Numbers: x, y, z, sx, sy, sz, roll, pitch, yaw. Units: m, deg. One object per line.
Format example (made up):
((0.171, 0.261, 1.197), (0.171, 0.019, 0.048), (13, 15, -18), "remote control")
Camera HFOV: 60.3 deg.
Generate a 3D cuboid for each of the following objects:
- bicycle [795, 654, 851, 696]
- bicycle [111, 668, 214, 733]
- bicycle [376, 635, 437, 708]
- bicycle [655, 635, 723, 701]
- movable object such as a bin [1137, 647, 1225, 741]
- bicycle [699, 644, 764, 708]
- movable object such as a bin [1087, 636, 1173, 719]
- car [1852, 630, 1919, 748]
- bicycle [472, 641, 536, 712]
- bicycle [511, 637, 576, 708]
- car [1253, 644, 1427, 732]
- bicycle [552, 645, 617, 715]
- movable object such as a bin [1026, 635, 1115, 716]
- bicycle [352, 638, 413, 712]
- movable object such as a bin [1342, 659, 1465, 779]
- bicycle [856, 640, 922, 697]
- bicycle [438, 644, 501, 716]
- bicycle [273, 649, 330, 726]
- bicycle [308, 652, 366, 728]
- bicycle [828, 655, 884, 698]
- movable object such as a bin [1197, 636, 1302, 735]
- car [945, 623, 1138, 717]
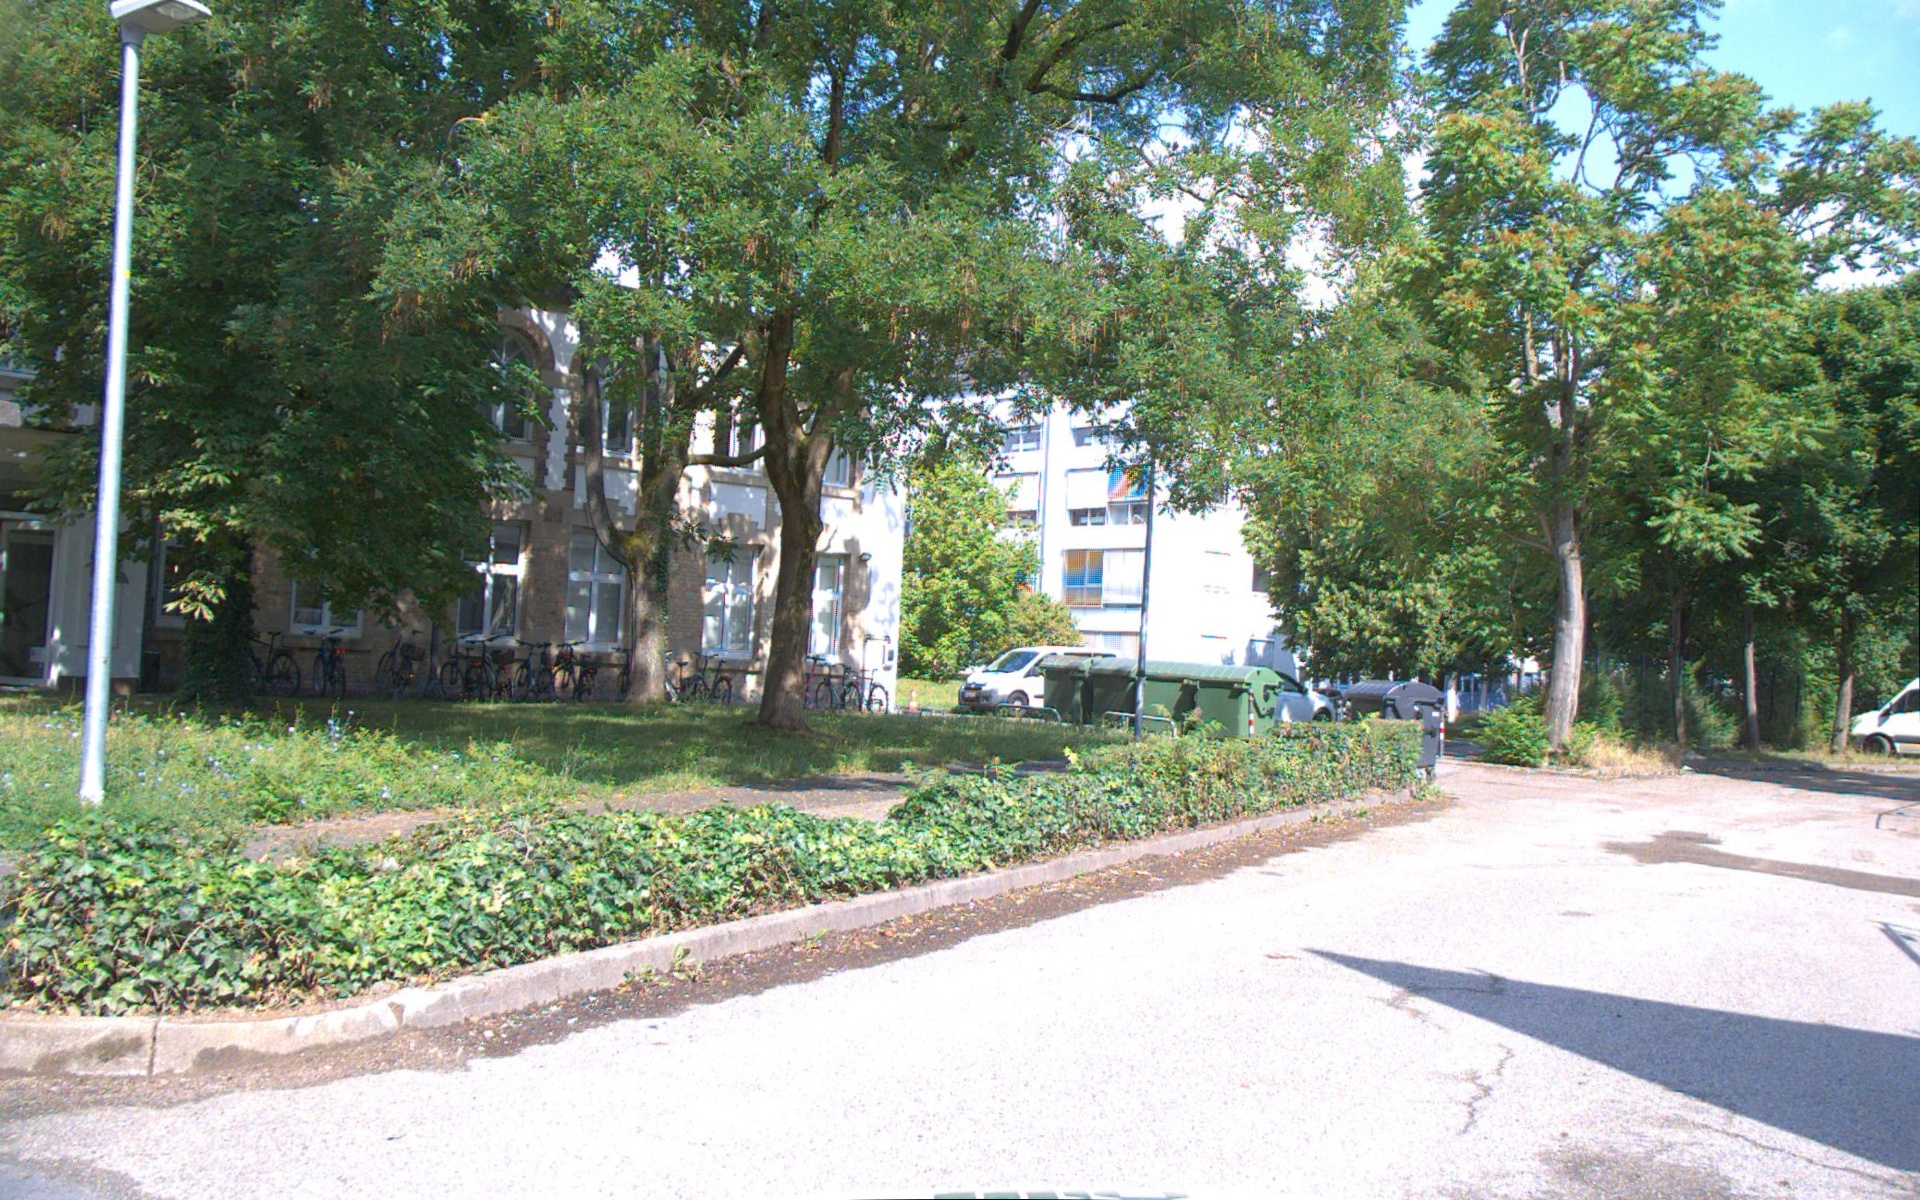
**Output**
((-2.704, 1.467, 32.568), (0.316, 0.717, 1.841), (4, -1, -30), "bicycle")
((-12.733, 1.593, 26.430), (1.378, 0.834, 0.415), (-7, 5, -35), "bicycle")
((-9.310, 1.182, 27.778), (0.415, 1.074, 2.044), (-6, 4, -32), "bicycle")
((-5.081, 1.260, 30.972), (0.415, 1.074, 2.044), (-6, 4, -32), "bicycle")
((3.799, 1.594, 28.488), (0.873, 1.477, 1.215), (-3, 3, -42), "movable object such as a bin")
((-4.365, 1.421, 31.451), (0.414, 1.074, 2.044), (-2, 2, -32), "bicycle")
((3.042, 1.367, 29.634), (0.939, 1.372, 1.215), (-3, 3, -43), "movable object such as a bin")
((28.765, 2.557, 45.886), (6.841, 3.099, 1.992), (1, 5, 38), "car")
((-7.936, 1.307, 28.709), (0.415, 1.074, 2.044), (-6, 4, -32), "bicycle")
((-7.350, 1.255, 29.117), (0.415, 1.074, 2.044), (-6, 4, -32), "bicycle")
((8.605, 1.939, 37.359), (3.877, 1.444, 1.736), (-6, 4, -37), "car")
((-6.754, 1.418, 29.692), (0.415, 1.074, 2.044), (-6, 4, -32), "bicycle")
((2.040, 1.382, 30.660), (0.939, 1.372, 1.360), (-3, 3, -43), "movable object such as a bin")
((-9.596, 1.224, 27.439), (0.415, 1.074, 2.044), (-6, 4, -32), "bicycle")
((6.438, 1.704, 24.091), (1.226, 1.507, 1.291), (-1, 5, -17), "movable object such as a bin")
((-1.433, 1.361, 33.085), (0.317, 1.055, 1.835), (-3, 2, -37), "bicycle")
((-8.411, 1.351, 28.323), (0.415, 1.074, 2.044), (-6, 4, -32), "bicycle")
((-10.717, 1.406, 26.892), (0.415, 1.074, 2.044), (-6, 4, -32), "bicycle")
((-10.237, 1.456, 27.138), (0.415, 1.074, 2.044), (-6, 4, -32), "bicycle")
((-2.083, 1.510, 32.982), (0.316, 0.717, 1.841), (-2, 2, -29), "bicycle")
((4.784, 1.390, 27.374), (1.094, 1.477, 1.322), (-3, 3, -42), "movable object such as a bin")
((2.215, 1.825, 44.328), (4.900, 1.998, 1.975), (-5, 1, -35), "car")
